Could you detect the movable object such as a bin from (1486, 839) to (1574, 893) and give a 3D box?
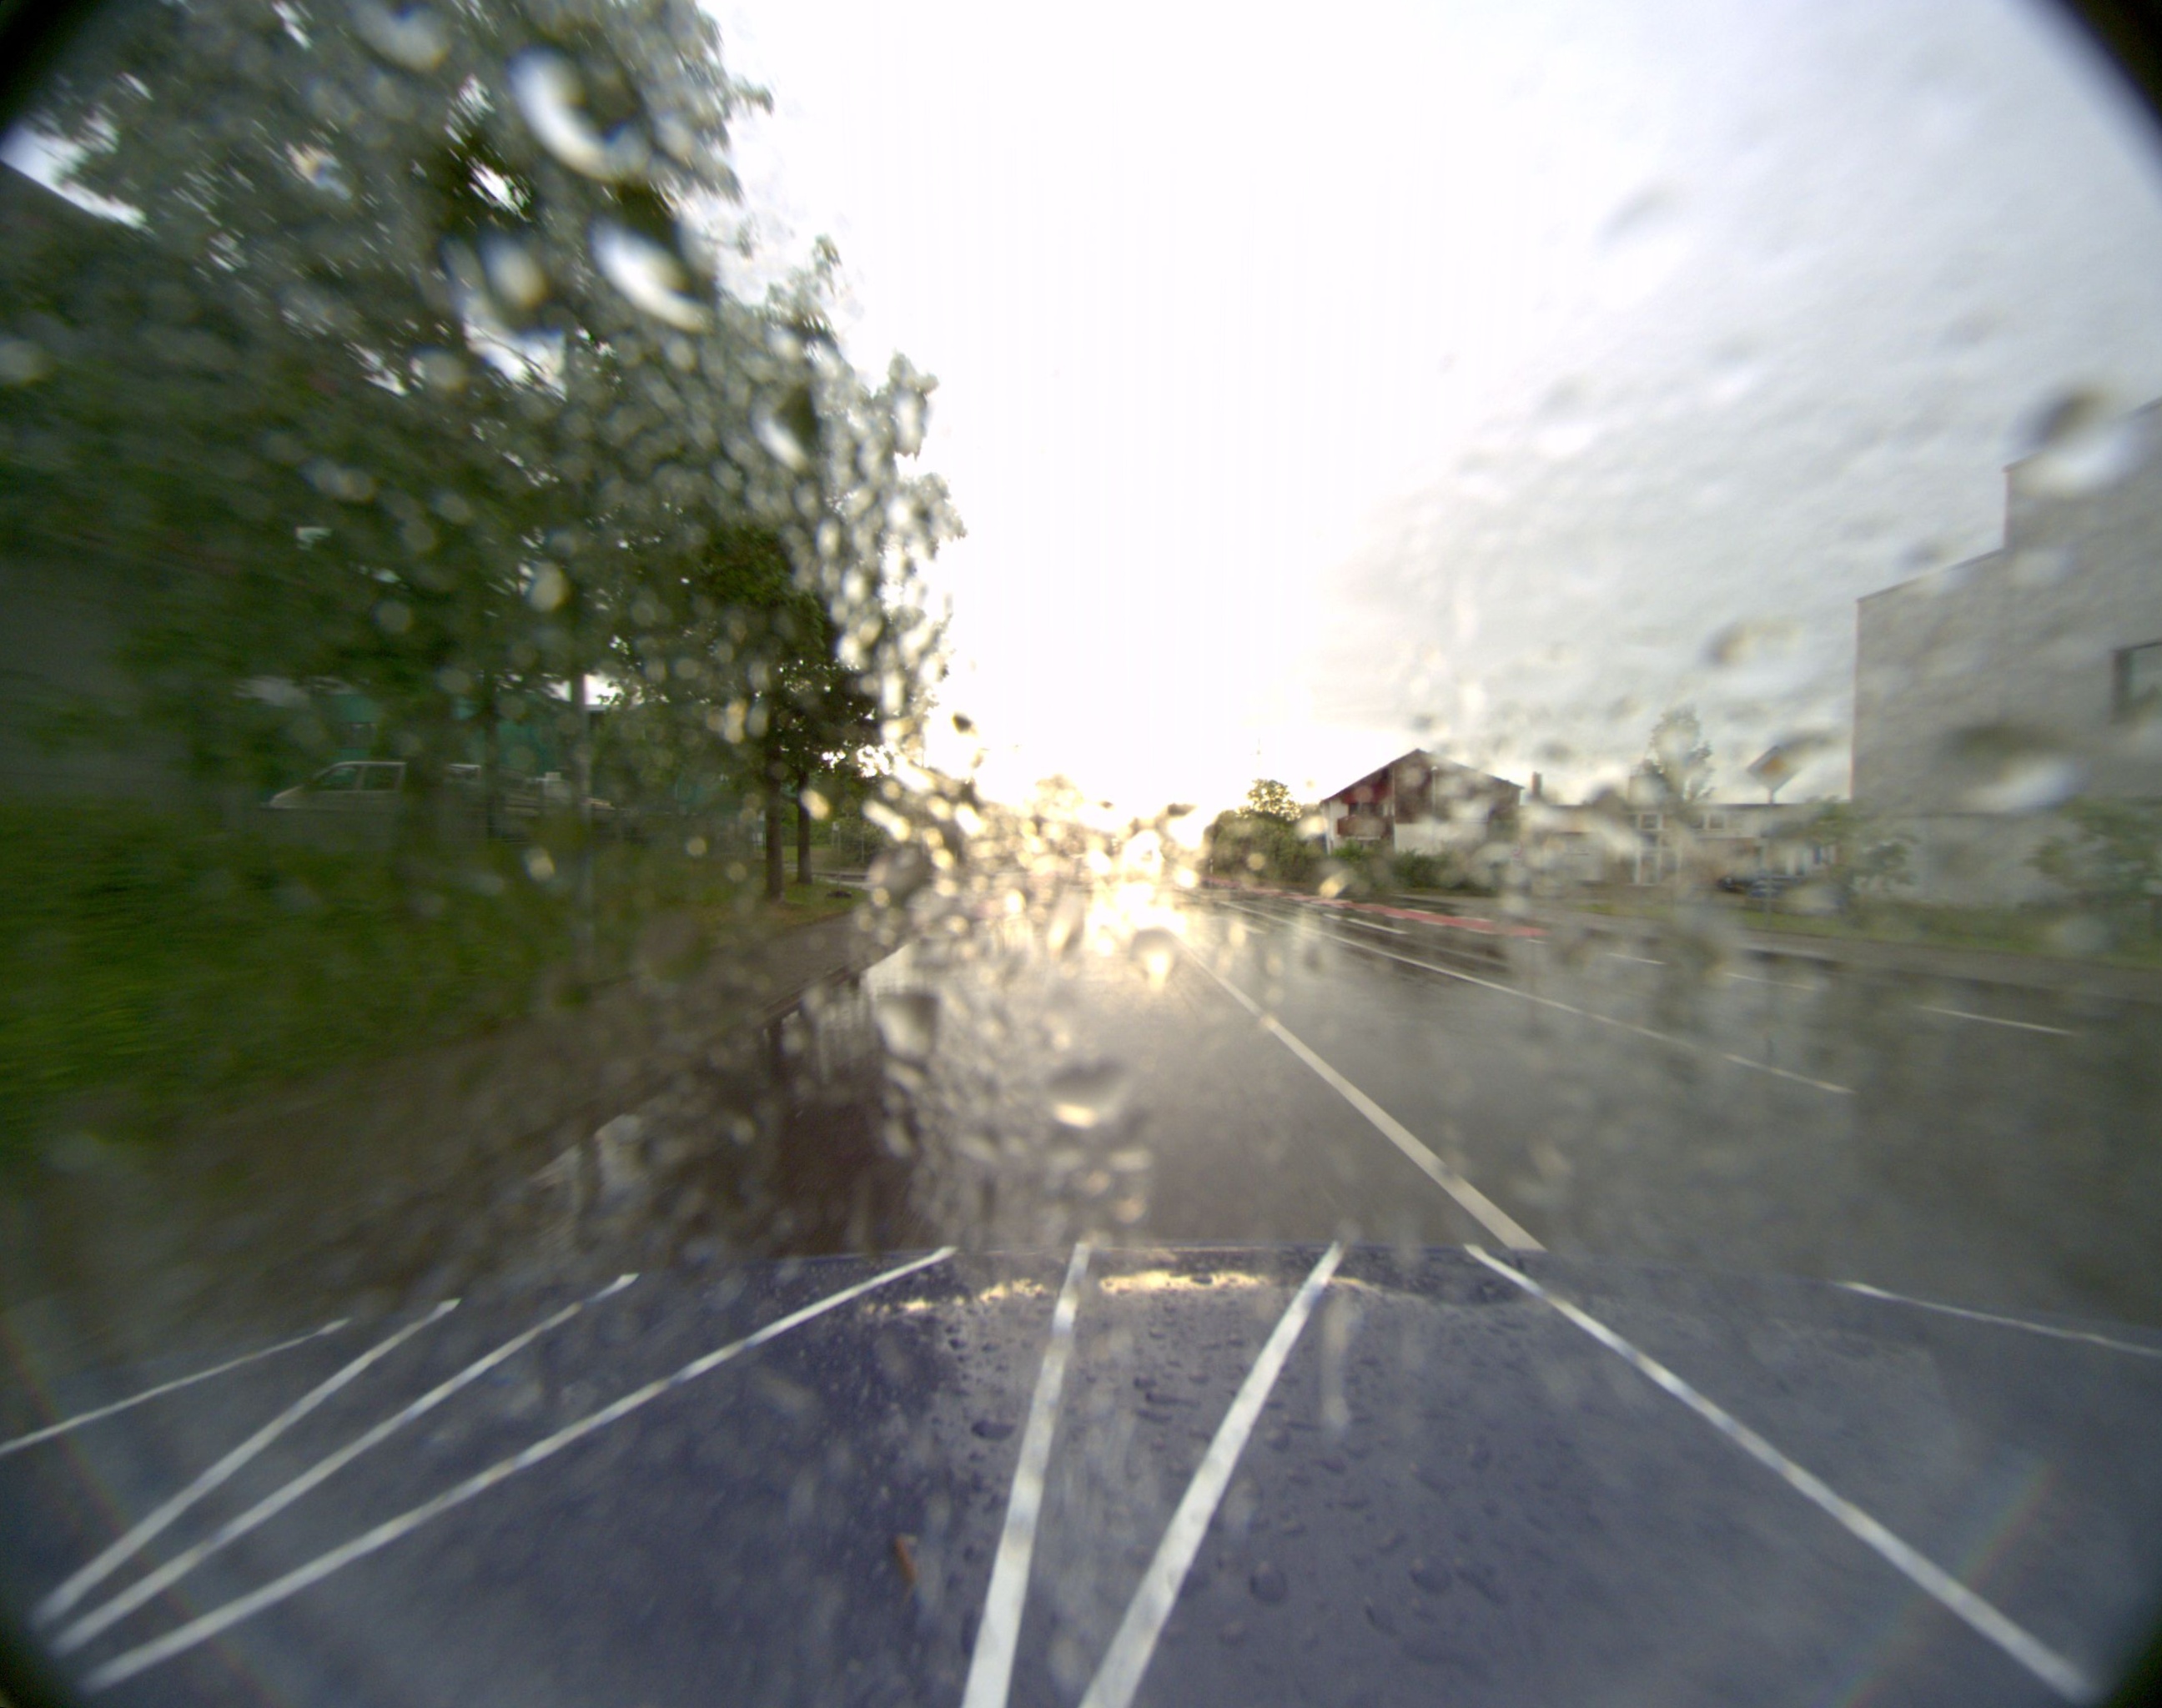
[{"bbox_3d":[22.922,0.590,38.876,3.335,2.542,1.739,3,1,7],"label":"movable object such as a bin"}]

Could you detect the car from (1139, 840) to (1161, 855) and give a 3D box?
[{"bbox_3d":[10.139,-0.989,112.167,2.360,1.806,6.873,3,3,0],"label":"car"}]

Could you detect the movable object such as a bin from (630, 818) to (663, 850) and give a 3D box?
[{"bbox_3d":[-11.771,-0.538,20.609,0.539,0.813,0.566,3,1,0],"label":"movable object such as a bin"}]

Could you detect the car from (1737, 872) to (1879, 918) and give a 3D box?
[{"bbox_3d":[29.253,1.646,30.610,4.449,1.601,1.955,3,1,-13],"label":"car"}]

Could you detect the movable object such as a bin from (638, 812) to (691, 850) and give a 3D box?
[{"bbox_3d":[-11.856,-0.643,21.674,0.883,1.036,1.053,3,1,2],"label":"movable object such as a bin"}]

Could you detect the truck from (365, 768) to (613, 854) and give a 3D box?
[{"bbox_3d":[-17.724,-1.239,23.009,5.651,2.201,2.111,3,1,-4],"label":"truck"}]

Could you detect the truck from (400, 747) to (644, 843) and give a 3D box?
[{"bbox_3d":[-14.789,-1.505,20.365,4.834,2.328,2.249,1,1,-2],"label":"truck"}]

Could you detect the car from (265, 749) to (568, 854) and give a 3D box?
[{"bbox_3d":[-14.848,-1.119,17.219,4.935,2.002,2.062,3,1,-2],"label":"car"}]

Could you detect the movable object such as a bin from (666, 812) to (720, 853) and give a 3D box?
[{"bbox_3d":[-11.752,-0.644,23.057,1.026,1.155,1.142,3,1,0],"label":"movable object such as a bin"}]

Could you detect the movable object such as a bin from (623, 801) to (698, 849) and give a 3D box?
[{"bbox_3d":[-14.044,-0.949,25.454,1.860,1.492,1.309,3,1,-14],"label":"movable object such as a bin"}]

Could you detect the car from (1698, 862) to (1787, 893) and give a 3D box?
[{"bbox_3d":[37.107,1.278,42.775,1.996,1.547,4.003,3,1,11],"label":"car"}]
